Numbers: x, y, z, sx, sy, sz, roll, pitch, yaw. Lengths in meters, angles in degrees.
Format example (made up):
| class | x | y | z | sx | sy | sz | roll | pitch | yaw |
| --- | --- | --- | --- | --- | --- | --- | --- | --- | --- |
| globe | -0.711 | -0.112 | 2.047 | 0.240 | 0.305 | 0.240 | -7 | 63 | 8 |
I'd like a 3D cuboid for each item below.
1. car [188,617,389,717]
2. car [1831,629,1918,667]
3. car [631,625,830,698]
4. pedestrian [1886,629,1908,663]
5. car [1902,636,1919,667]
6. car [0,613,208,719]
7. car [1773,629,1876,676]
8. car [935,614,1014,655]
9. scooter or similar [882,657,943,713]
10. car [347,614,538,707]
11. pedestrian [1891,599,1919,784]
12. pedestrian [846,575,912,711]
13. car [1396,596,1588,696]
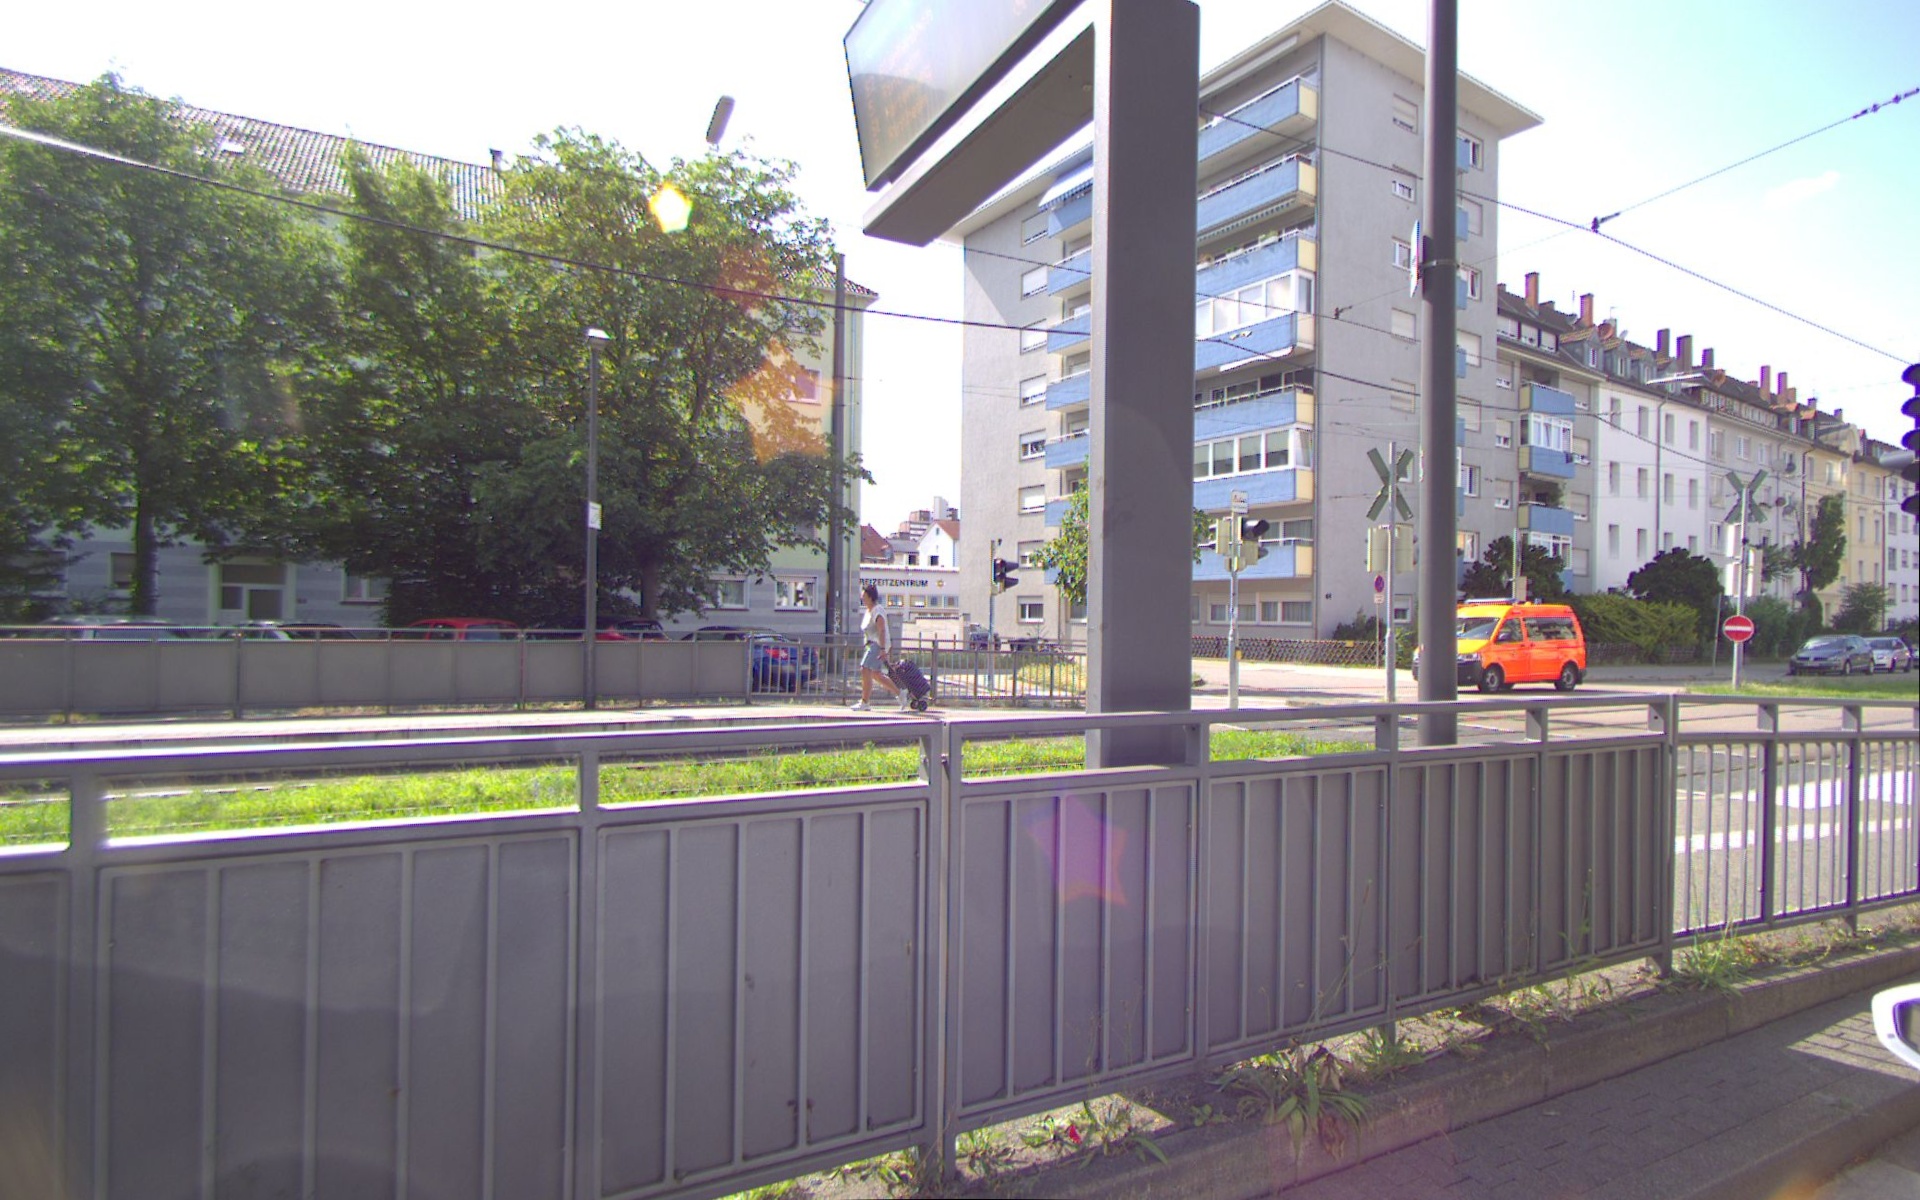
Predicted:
| class | x | y | z | sx | sy | sz | roll | pitch | yaw |
| --- | --- | --- | --- | --- | --- | --- | --- | --- | --- |
| car | -12.060 | 1.126 | 18.004 | 3.603 | 1.600 | 1.645 | 0 | -1 | 32 |
| car | 39.239 | 2.064 | 43.091 | 3.956 | 1.461 | 1.758 | 2 | 0 | -32 |
| car | -4.987 | 1.278 | 21.813 | 4.055 | 1.413 | 1.608 | 0 | -1 | 24 |
| pedestrian | 50.416 | 2.469 | 54.048 | 0.857 | 1.817 | 0.700 | 1 | -1 | -36 |
| car | 47.411 | 2.536 | 48.641 | 3.959 | 1.461 | 1.757 | 2 | 0 | -34 |
| car | -14.206 | 1.005 | 16.560 | 3.959 | 1.534 | 1.605 | 0 | -1 | 33 |
| car | 34.274 | 2.057 | 39.789 | 3.956 | 1.667 | 1.982 | 2 | 0 | -32 |
| car | 0.648 | 1.627 | 47.550 | 1.976 | 1.706 | 3.968 | 2 | 0 | -30 |
| scooter or similar | -0.639 | 1.134 | 13.489 | 0.692 | 0.708 | 0.440 | 1 | -1 | -29 |
| car | -9.984 | 1.091 | 19.327 | 3.603 | 1.600 | 1.645 | 0 | -1 | 32 |
| pedestrian | 9.050 | 0.844 | 9.110 | 0.630 | 1.670 | 0.701 | 2 | 1 | -34 |
| pedestrian | -1.051 | 0.545 | 12.963 | 0.624 | 1.686 | 0.657 | 1 | -1 | -29 |
| car | 13.334 | 1.129 | 25.146 | 4.774 | 2.305 | 1.985 | 1 | -2 | -29 |
